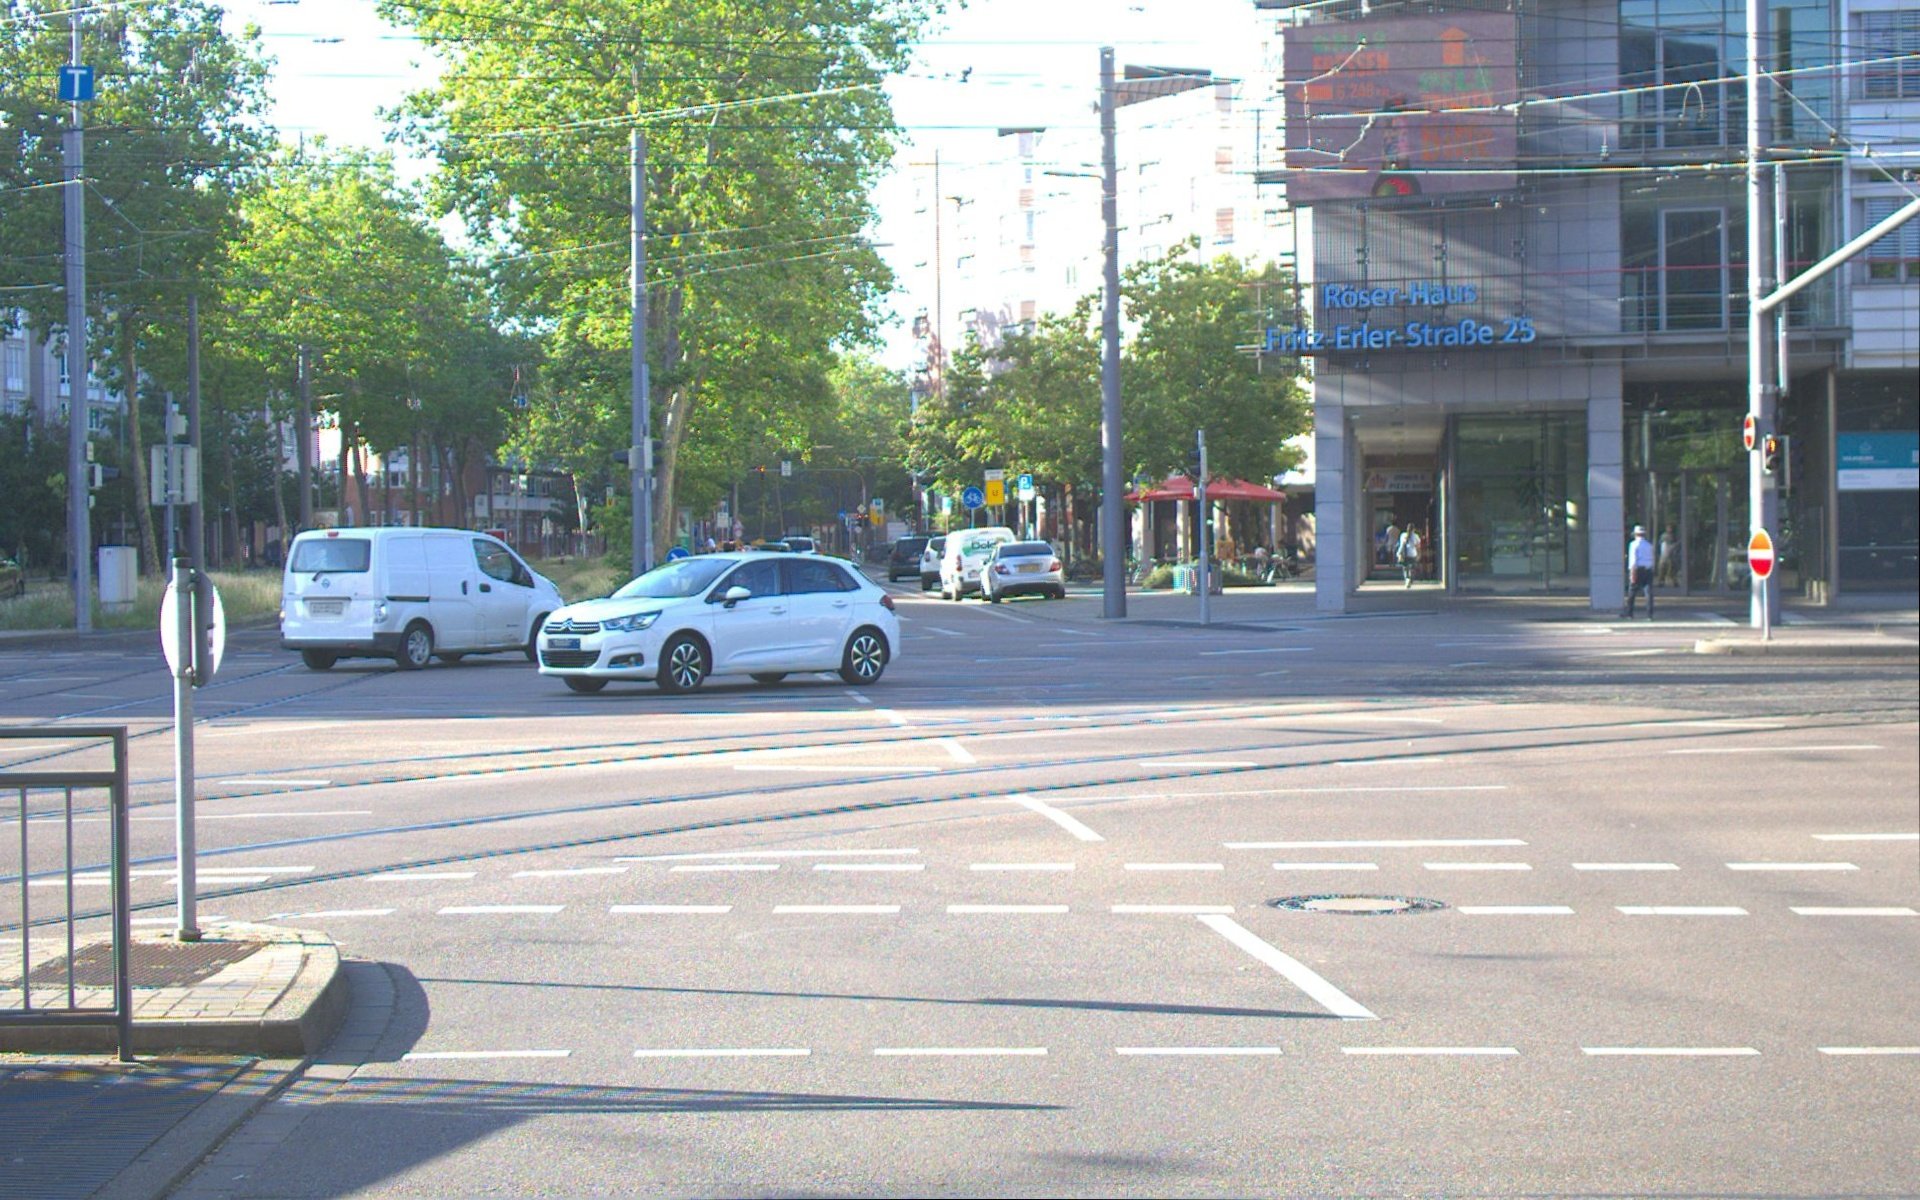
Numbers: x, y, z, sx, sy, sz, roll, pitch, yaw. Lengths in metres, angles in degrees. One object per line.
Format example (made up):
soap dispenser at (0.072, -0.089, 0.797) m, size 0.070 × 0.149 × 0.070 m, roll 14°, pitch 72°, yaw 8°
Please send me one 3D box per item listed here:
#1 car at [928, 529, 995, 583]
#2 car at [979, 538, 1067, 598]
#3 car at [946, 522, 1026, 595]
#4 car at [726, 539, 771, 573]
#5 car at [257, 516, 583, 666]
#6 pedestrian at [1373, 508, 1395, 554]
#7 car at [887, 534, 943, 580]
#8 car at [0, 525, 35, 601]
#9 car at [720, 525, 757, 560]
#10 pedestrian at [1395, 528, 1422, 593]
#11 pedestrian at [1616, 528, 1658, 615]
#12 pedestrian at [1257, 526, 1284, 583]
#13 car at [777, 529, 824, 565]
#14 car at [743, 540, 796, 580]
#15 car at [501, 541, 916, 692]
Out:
car at (0.039, -1.359, 105.217) m, size 1.993 × 1.612 × 4.000 m, roll -1°, pitch 1°, yaw 0°
car at (1.494, -0.786, 82.776) m, size 1.993 × 1.371 × 4.000 m, roll -1°, pitch 1°, yaw -1°
car at (0.650, -1.096, 89.571) m, size 1.993 × 1.853 × 4.000 m, roll -1°, pitch 1°, yaw -1°
car at (-9.040, -1.880, 147.129) m, size 1.797 × 1.437 × 4.000 m, roll 1°, pitch 1°, yaw -2°
car at (-7.052, -0.153, 45.338) m, size 1.758 × 1.860 × 4.518 m, roll 0°, pitch 1°, yaw 30°
pedestrian at (15.808, -2.560, 128.210) m, size 0.744 × 1.708 × 0.612 m, roll -1°, pitch 1°, yaw -1°
car at (-1.638, -1.598, 126.667) m, size 1.993 × 1.612 × 4.000 m, roll -1°, pitch 1°, yaw 0°
car at (-21.665, -0.801, 74.925) m, size 1.993 × 1.634 × 4.000 m, roll -1°, pitch 1°, yaw -1°
car at (-13.064, -3.404, 202.856) m, size 1.993 × 2.007 × 4.000 m, roll -1°, pitch 1°, yaw -1°
pedestrian at (10.544, -0.936, 80.833) m, size 0.612 × 1.502 × 0.579 m, roll -1°, pitch 1°, yaw 7°
pedestrian at (11.847, -0.505, 60.154) m, size 0.612 × 1.502 × 0.579 m, roll -1°, pitch 1°, yaw 2°
pedestrian at (9.460, -1.395, 104.895) m, size 0.744 × 1.708 × 0.612 m, roll -1°, pitch 1°, yaw -1°
car at (-6.616, -2.218, 143.005) m, size 1.797 × 1.437 × 4.000 m, roll -1°, pitch 1°, yaw -1°
car at (-7.205, -1.527, 130.056) m, size 1.797 × 1.437 × 4.000 m, roll -1°, pitch 1°, yaw -1°
car at (-2.658, 0.142, 37.029) m, size 4.297 × 1.483 × 1.760 m, roll -2°, pitch 1°, yaw -44°
